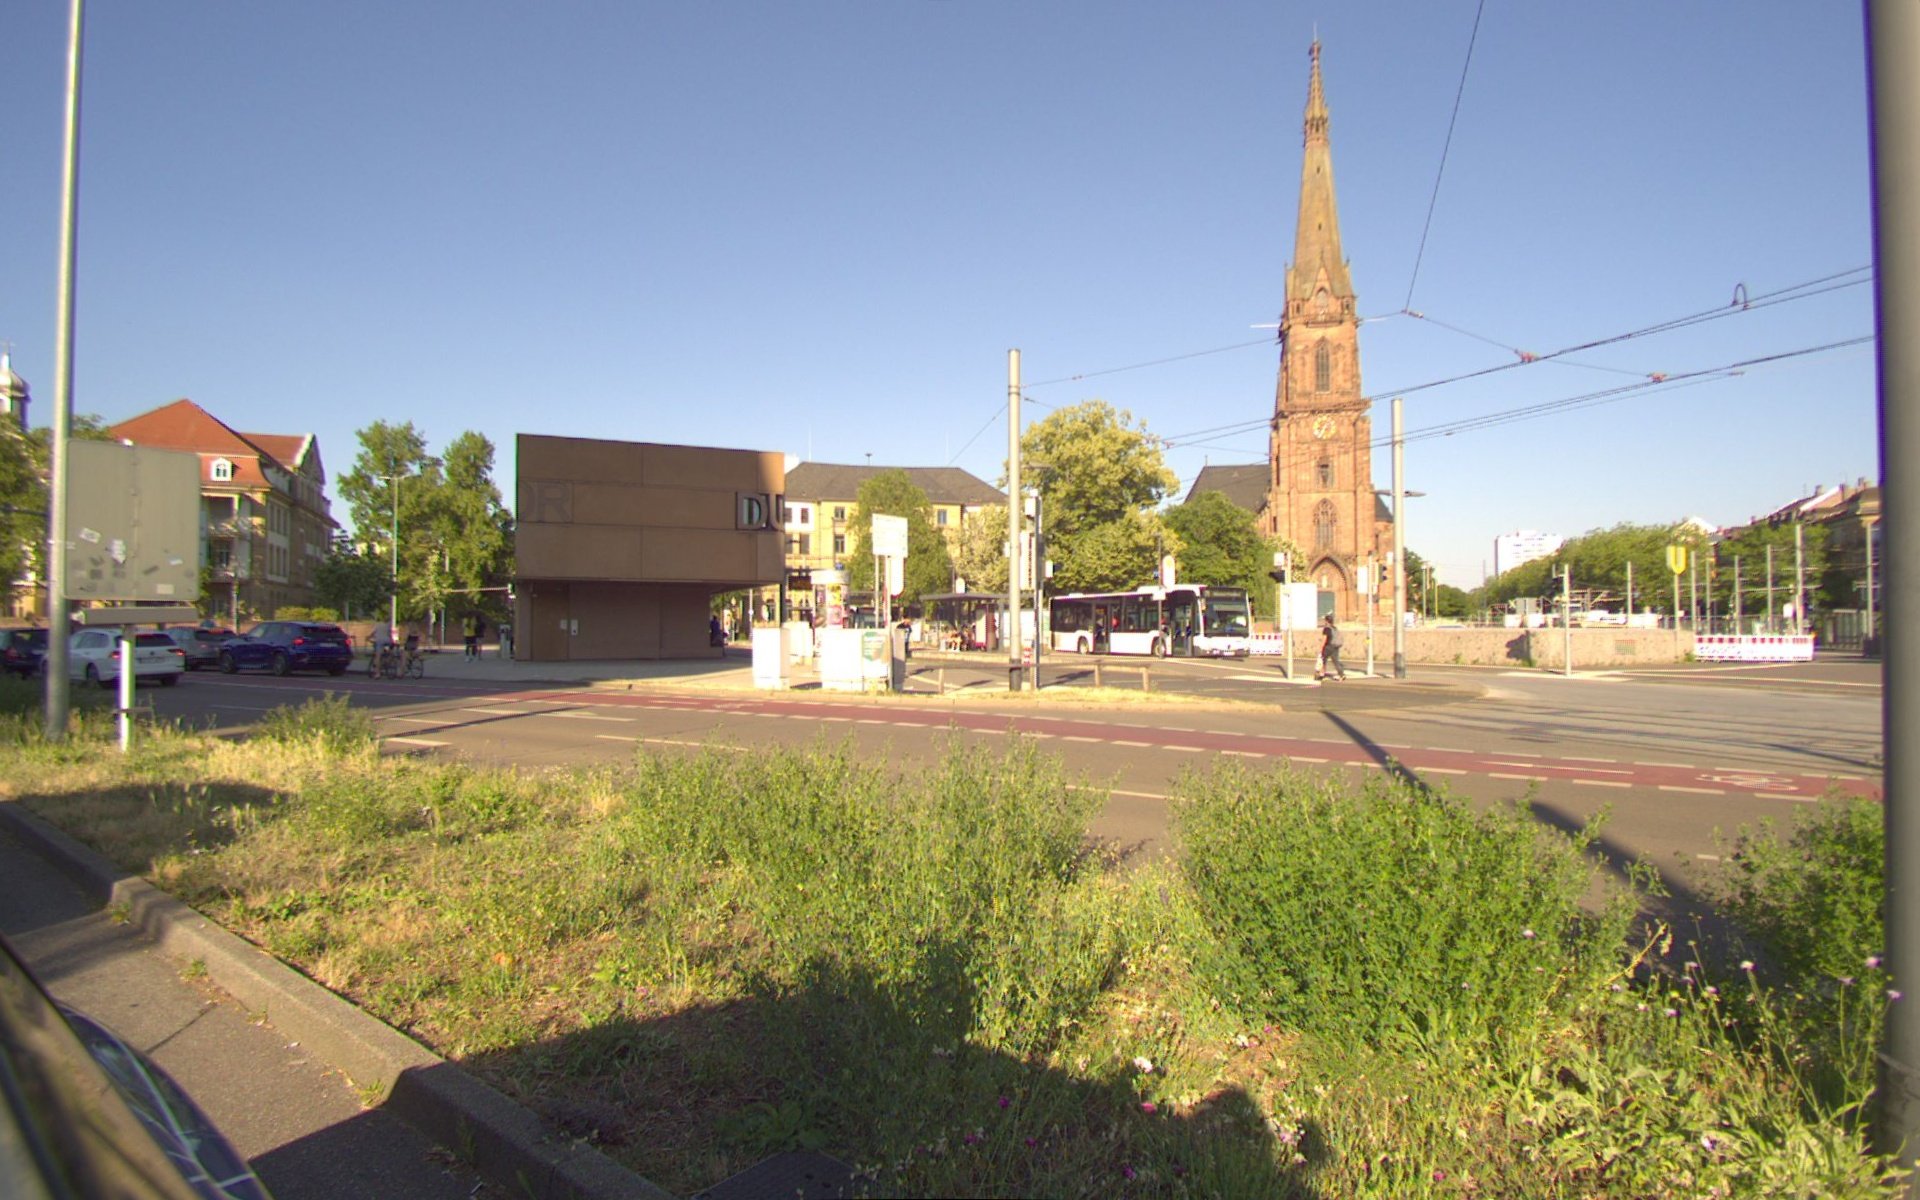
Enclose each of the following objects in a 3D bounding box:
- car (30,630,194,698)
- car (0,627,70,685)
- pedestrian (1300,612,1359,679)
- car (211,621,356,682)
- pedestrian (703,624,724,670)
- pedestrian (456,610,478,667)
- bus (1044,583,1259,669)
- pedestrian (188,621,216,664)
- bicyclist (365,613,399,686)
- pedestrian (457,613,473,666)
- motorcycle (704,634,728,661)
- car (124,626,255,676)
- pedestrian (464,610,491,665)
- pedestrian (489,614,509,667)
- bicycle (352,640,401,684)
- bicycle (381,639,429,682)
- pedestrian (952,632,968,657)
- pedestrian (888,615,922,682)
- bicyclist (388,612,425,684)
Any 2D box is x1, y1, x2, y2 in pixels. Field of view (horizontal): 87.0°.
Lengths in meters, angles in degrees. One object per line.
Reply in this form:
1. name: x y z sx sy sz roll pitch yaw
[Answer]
1. car: -21.460 1.548 25.584 4.375 1.503 1.831 -1 0 30
2. car: -26.756 1.545 28.693 4.186 1.471 1.733 -1 0 41
3. pedestrian: 9.730 1.188 26.660 1.025 1.696 1.007 -1 0 -25
4. car: -20.140 1.478 30.096 4.166 1.703 1.741 -1 -1 26
5. pedestrian: -11.136 2.123 45.823 0.762 2.029 0.778 -1 0 -2
6. pedestrian: -17.649 1.373 36.239 0.645 2.029 0.470 -1 0 -29
7. bus: 7.666 0.973 43.372 2.655 3.174 12.216 -1 0 -23
8. pedestrian: -34.079 1.892 45.507 0.787 1.911 0.612 0 -2 -9
9. bicyclist: -16.283 1.385 28.533 0.562 2.029 0.605 -1 -2 25
10. pedestrian: -19.334 1.520 39.523 0.460 2.029 0.658 -1 0 -33
11. motorcycle: -10.156 1.960 42.078 0.935 1.075 0.331 -1 0 -11
12. car: -25.227 1.652 33.112 4.375 1.503 1.831 -1 -4 30
13. pedestrian: -18.286 1.419 38.358 0.765 2.029 0.775 -1 0 -37
14. pedestrian: -18.090 1.582 39.710 0.645 2.029 0.470 -1 0 -29
15. bicycle: -16.503 1.747 28.609 1.388 1.201 0.461 -1 0 23
16. bicycle: -16.027 1.740 29.215 1.388 1.201 0.461 -1 0 23
17. pedestrian: -0.004 2.198 49.943 0.531 1.196 0.660 -1 0 -21
18. pedestrian: -1.502 1.302 27.555 0.702 1.771 0.584 -1 0 -30
19. bicyclist: -15.955 1.370 29.174 0.705 2.029 0.605 -1 -2 25
